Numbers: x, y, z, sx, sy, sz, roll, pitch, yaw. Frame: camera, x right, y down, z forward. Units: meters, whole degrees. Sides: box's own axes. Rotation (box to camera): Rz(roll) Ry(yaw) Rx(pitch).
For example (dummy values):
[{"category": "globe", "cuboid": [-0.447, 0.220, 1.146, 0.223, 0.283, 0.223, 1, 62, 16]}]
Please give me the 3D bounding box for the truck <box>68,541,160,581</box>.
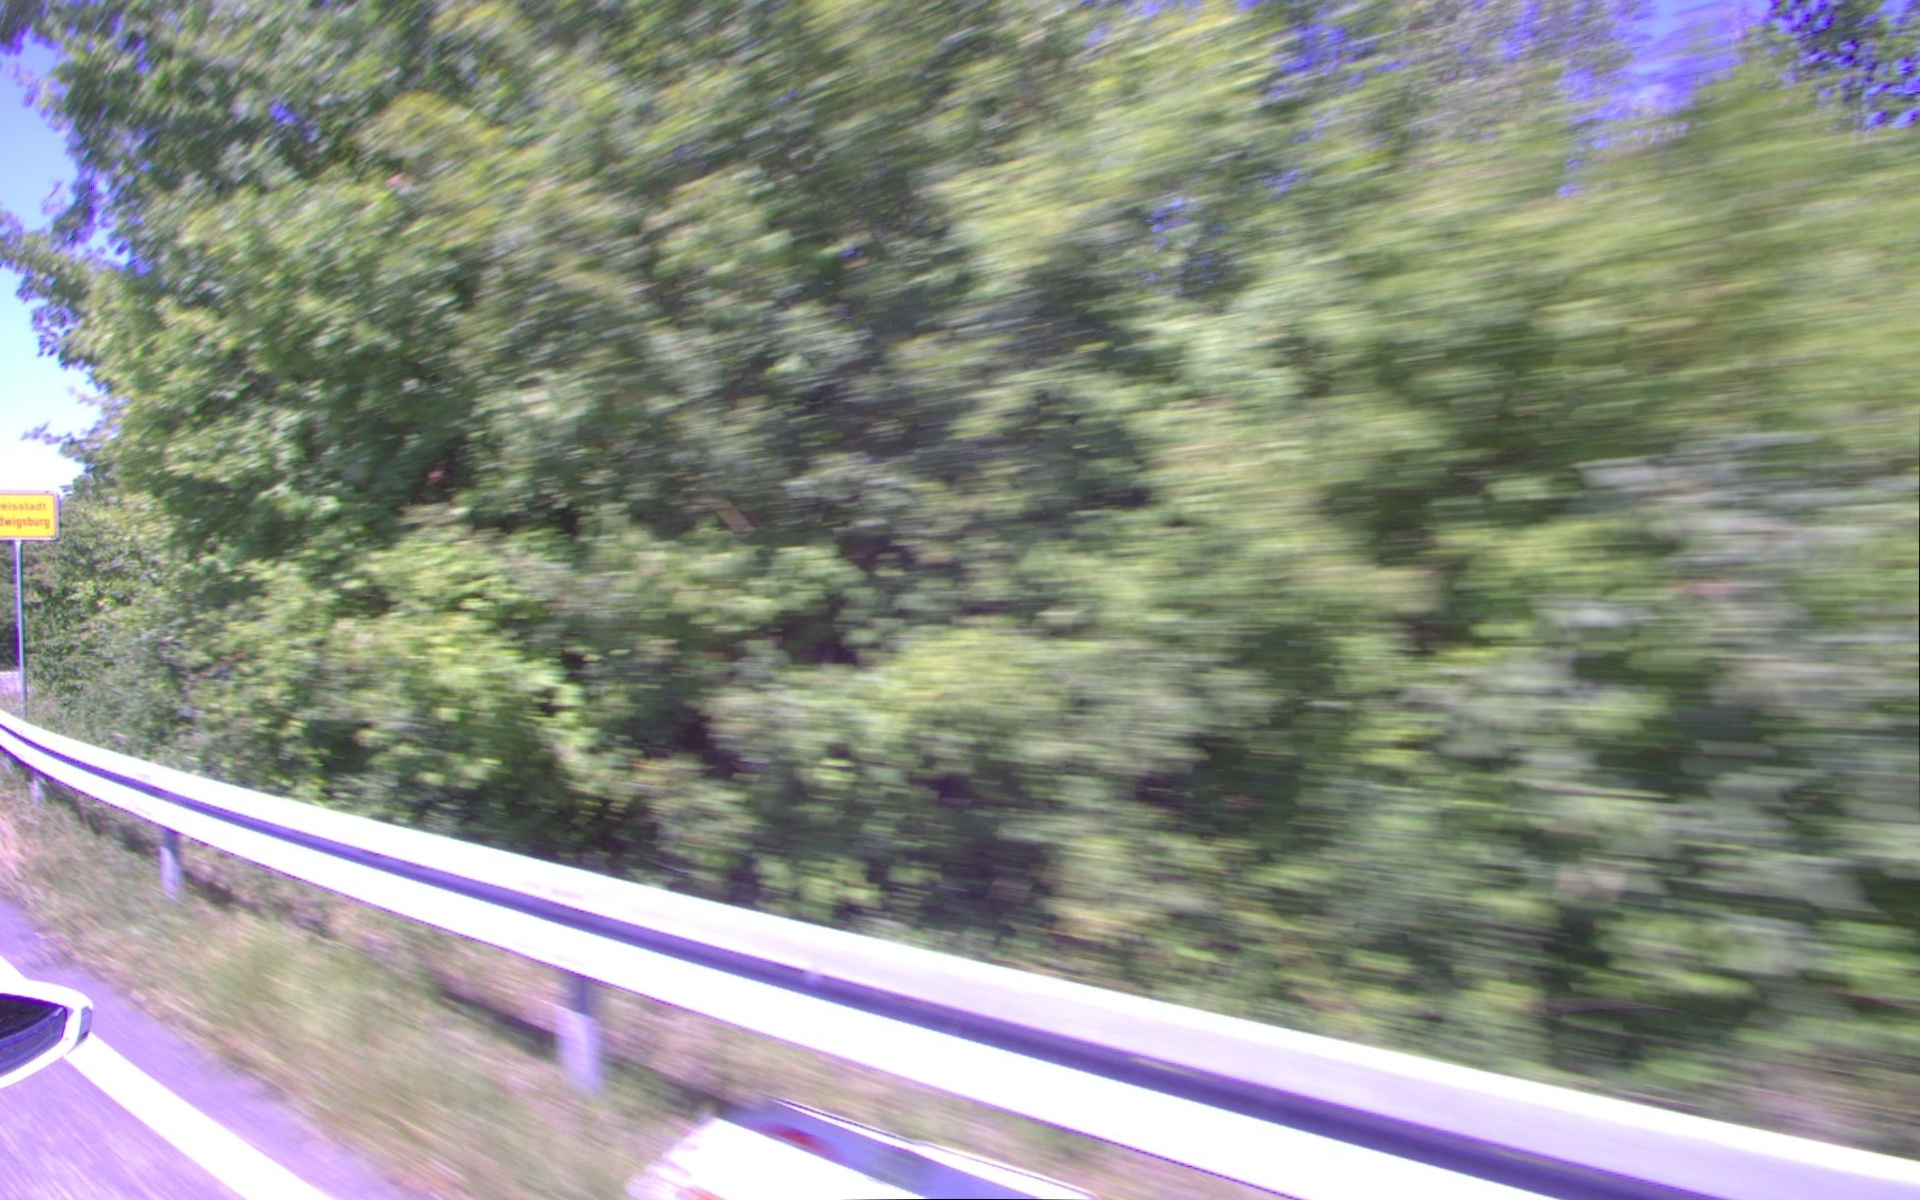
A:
[{"category": "truck", "cuboid": [-80.966, -3.656, 96.118, 2.982, 3.639, 8.886, -2, 2, -14]}]
